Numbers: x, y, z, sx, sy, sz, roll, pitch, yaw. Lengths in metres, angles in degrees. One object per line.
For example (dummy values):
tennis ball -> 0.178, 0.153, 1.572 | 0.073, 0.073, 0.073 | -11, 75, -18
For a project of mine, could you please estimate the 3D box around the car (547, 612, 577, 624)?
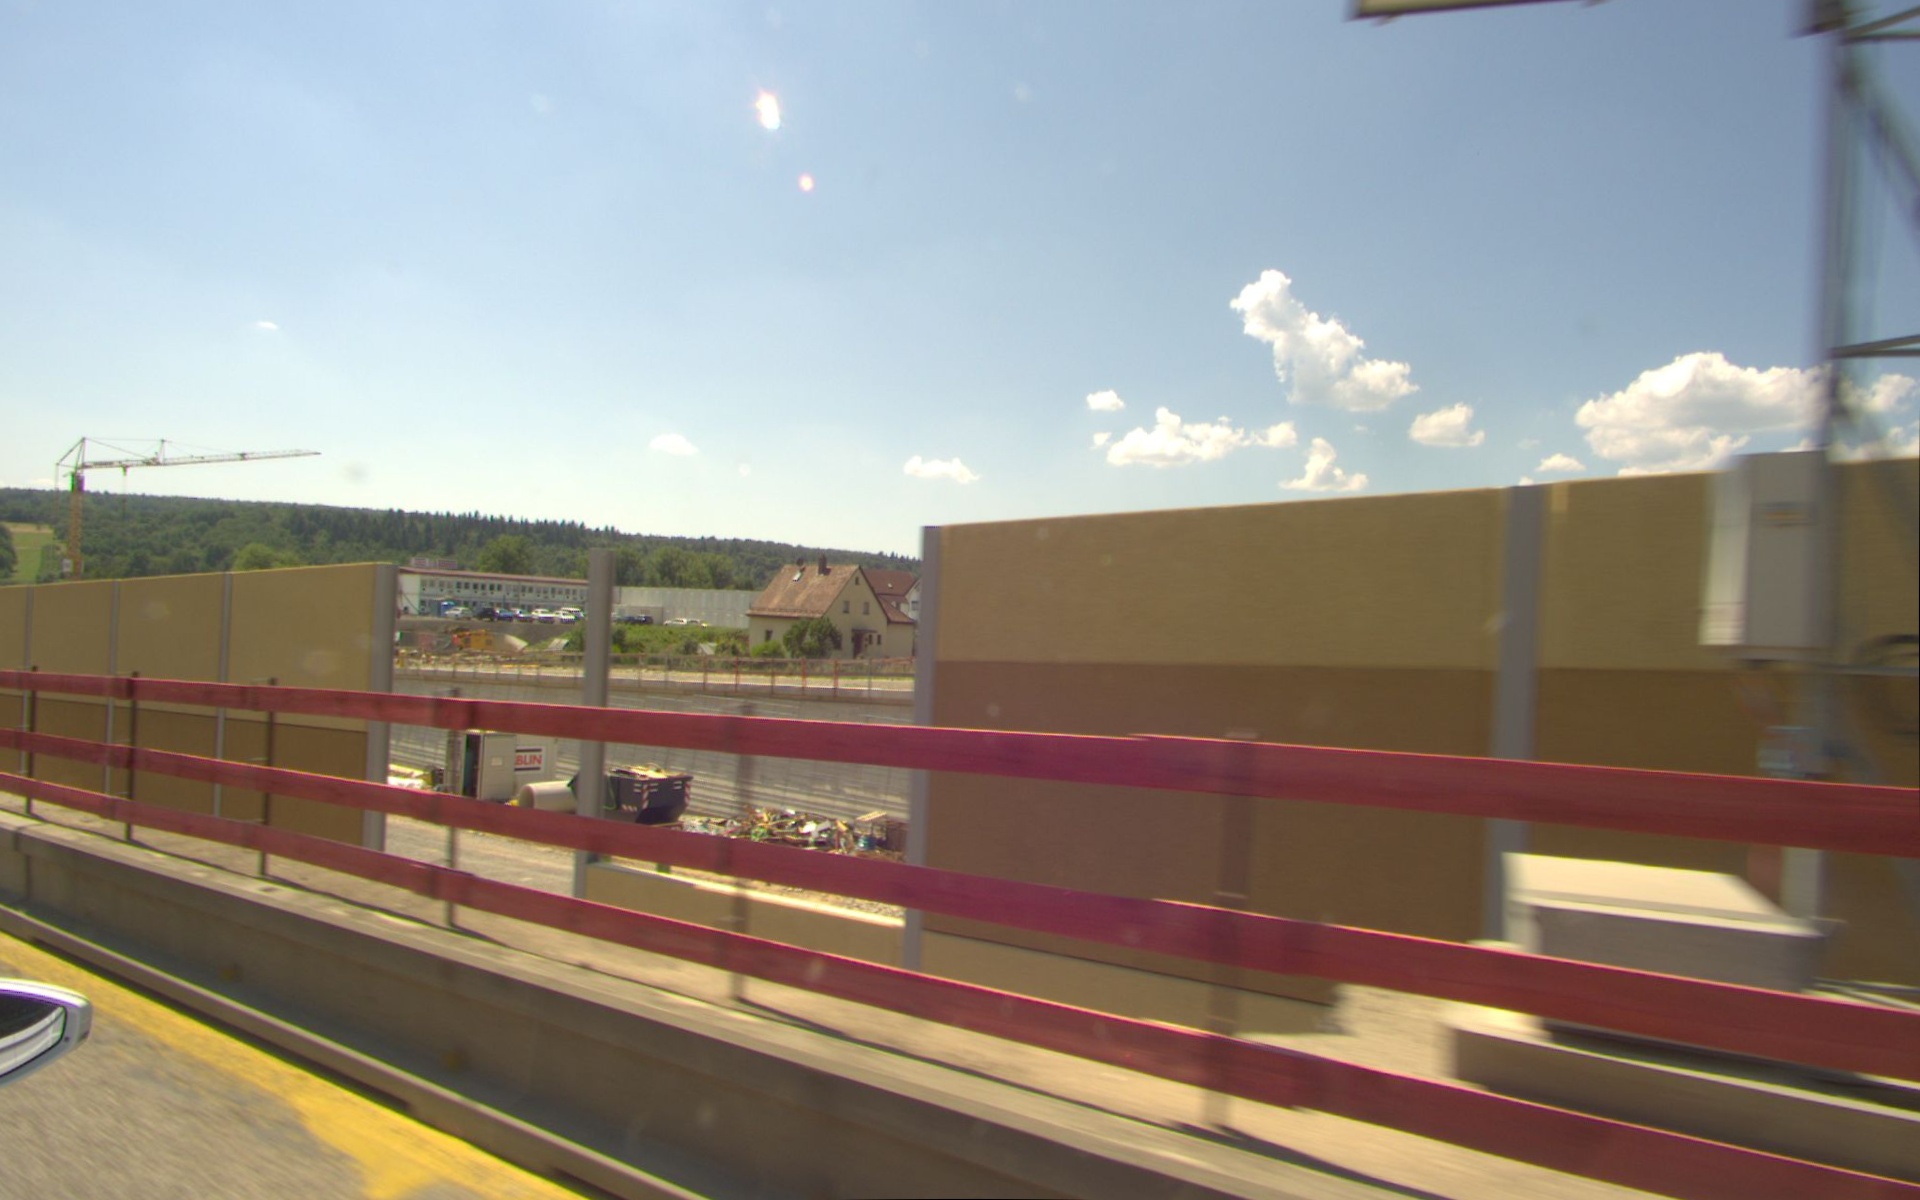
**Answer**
car -> -53.032, 2.366, 133.398 | 4.019, 1.537, 1.677 | -1, -2, 34

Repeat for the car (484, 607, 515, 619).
car -> -58.736, 1.699, 127.719 | 4.019, 1.537, 1.677 | -1, -2, 34

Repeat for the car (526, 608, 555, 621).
car -> -55.095, 1.915, 131.485 | 4.019, 1.537, 1.710 | -1, -2, 34

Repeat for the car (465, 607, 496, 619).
car -> -60.171, 1.637, 125.610 | 4.019, 1.537, 1.677 | -1, -2, 34

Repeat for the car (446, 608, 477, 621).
car -> -61.562, 1.826, 123.654 | 4.019, 1.537, 1.677 | -1, -2, 34
